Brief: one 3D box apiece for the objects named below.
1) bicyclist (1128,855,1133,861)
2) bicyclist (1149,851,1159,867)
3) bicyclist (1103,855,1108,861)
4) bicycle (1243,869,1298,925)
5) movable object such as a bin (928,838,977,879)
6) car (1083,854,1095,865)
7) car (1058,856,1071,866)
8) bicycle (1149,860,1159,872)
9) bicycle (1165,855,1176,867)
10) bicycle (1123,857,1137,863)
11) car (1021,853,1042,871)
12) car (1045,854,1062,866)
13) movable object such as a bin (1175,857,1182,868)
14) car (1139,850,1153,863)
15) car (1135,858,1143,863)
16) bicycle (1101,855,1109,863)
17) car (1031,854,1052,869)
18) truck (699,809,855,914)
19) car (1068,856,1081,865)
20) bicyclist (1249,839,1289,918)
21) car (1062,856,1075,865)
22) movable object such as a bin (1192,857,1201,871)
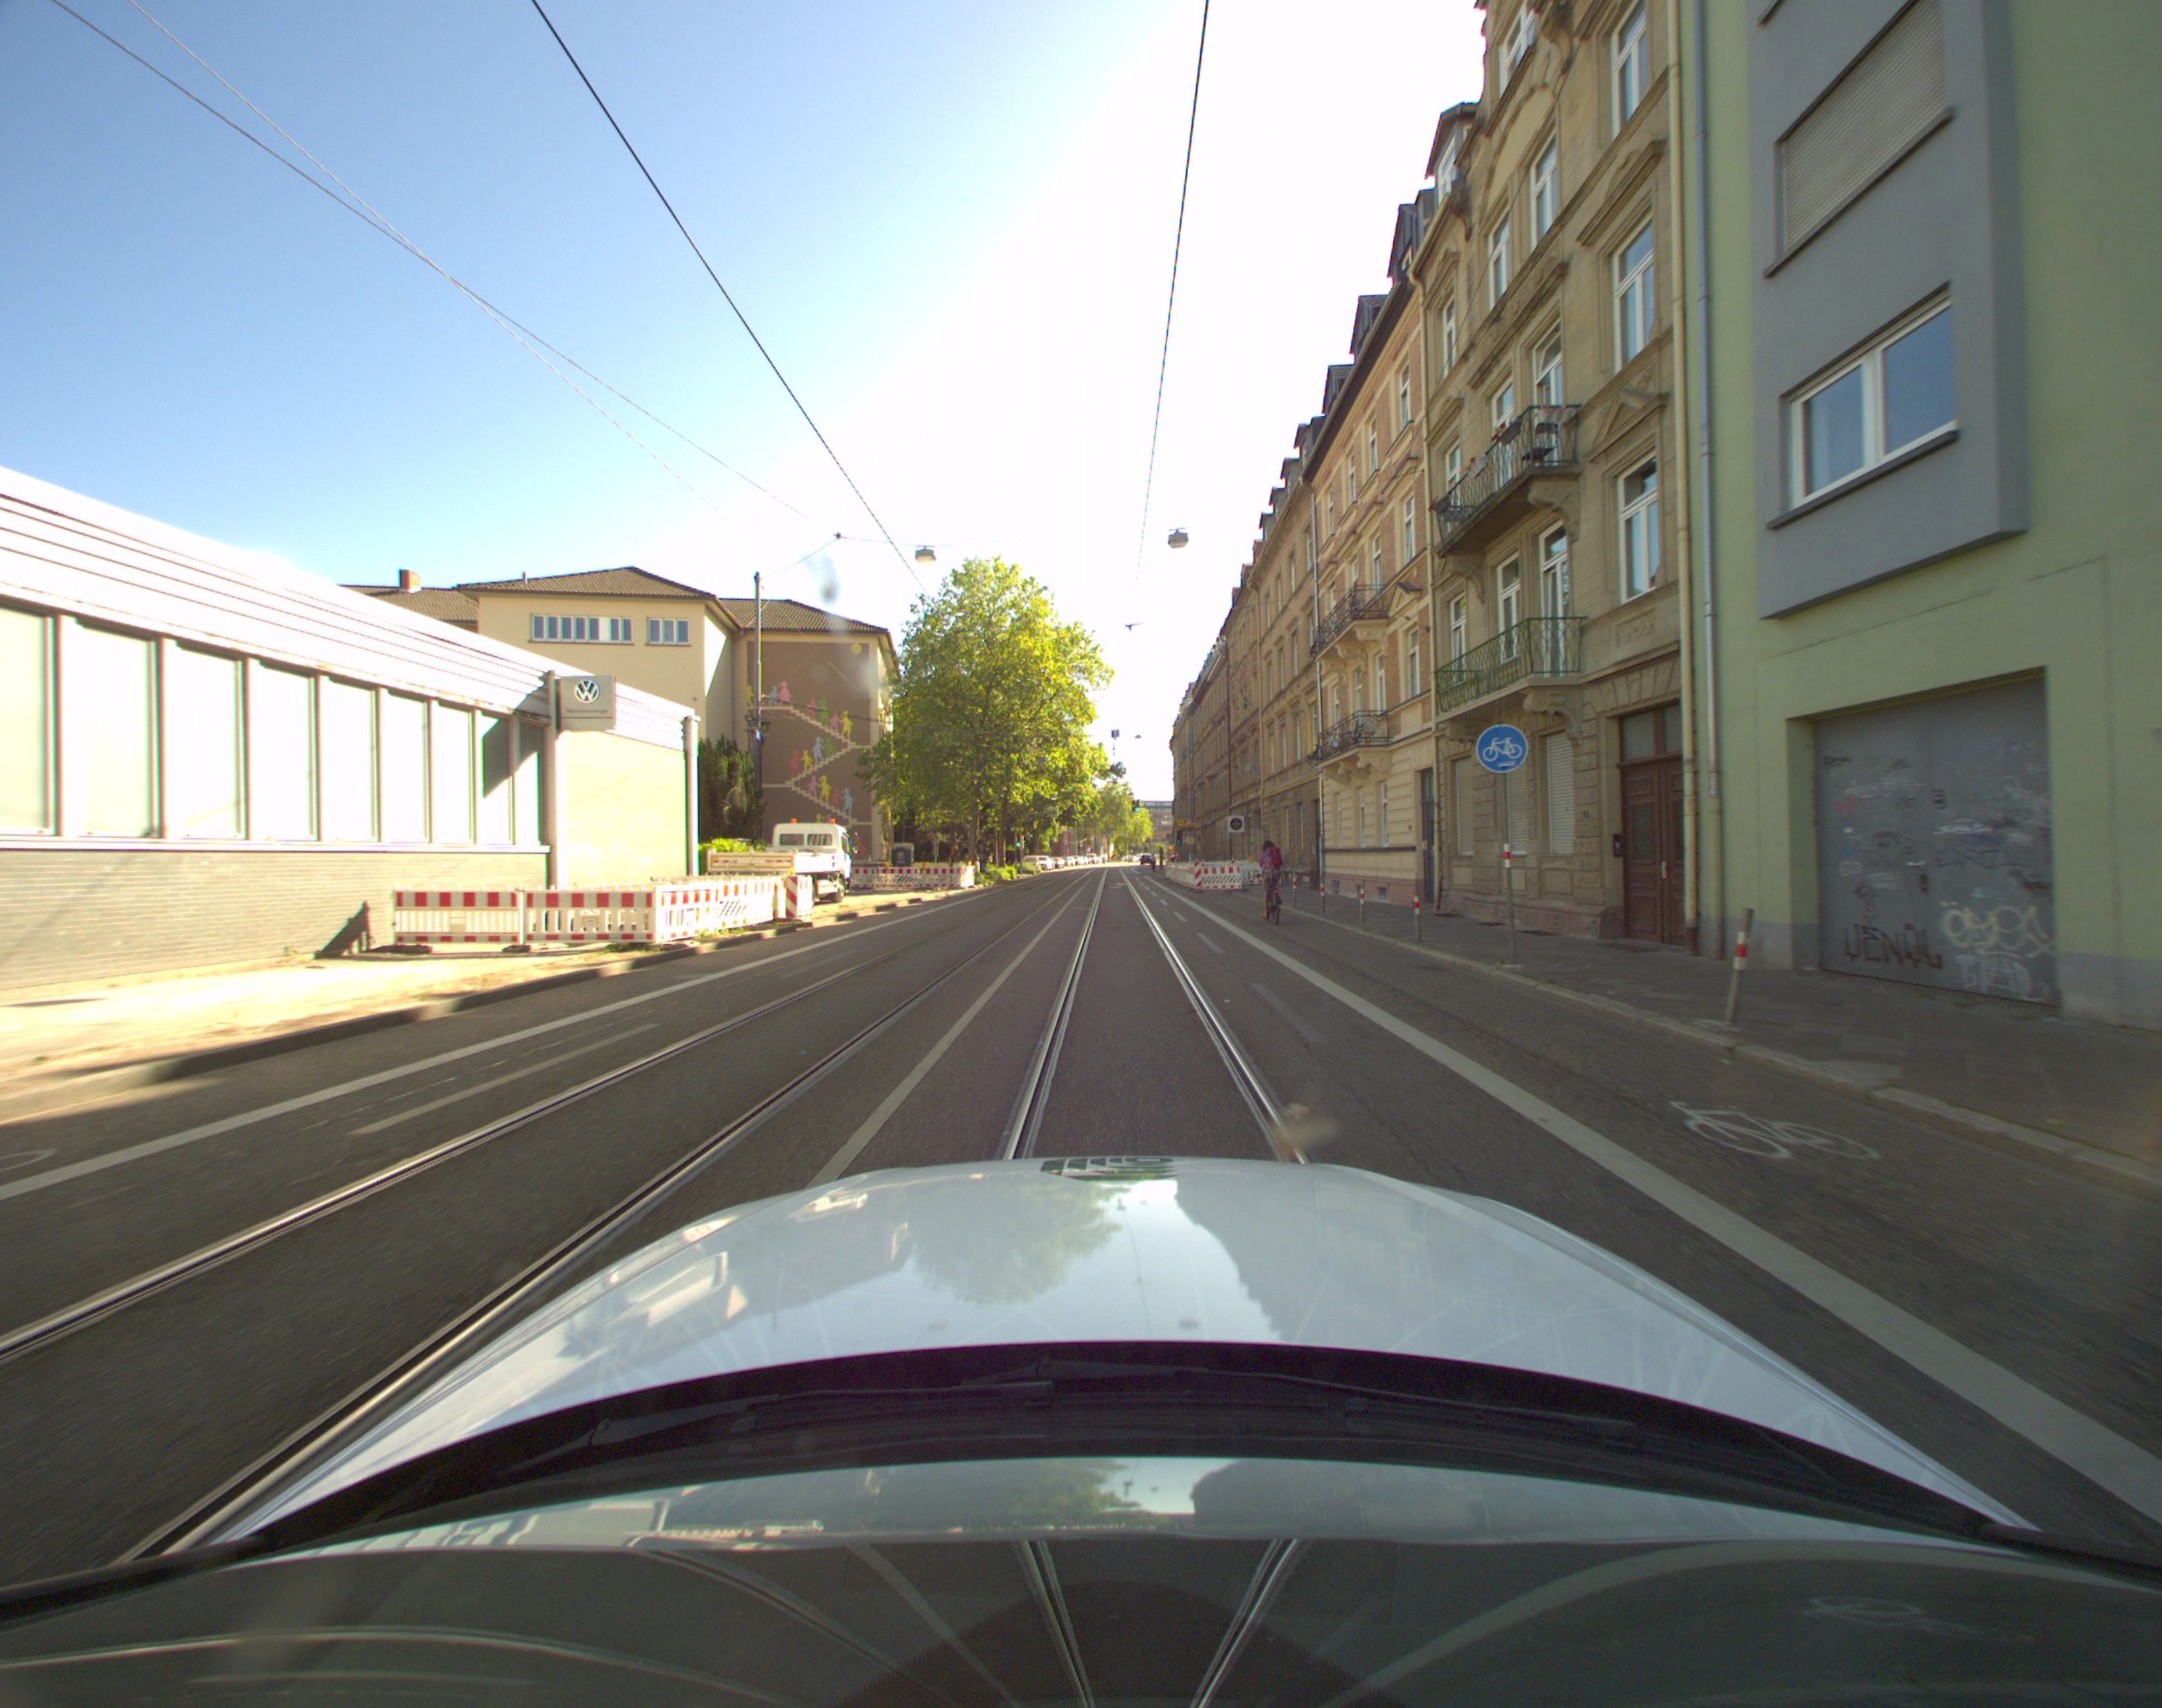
[{"bbox_3d":[11.074,0.951,182.131,0.893,1.427,1.056,0,-1,11],"label":"bicyclist"},{"bbox_3d":[6.915,0.479,77.322,0.835,1.558,0.966,0,-1,2],"label":"bicyclist"},{"bbox_3d":[5.395,0.881,179.764,1.071,1.427,1.149,0,-1,10],"label":"bicyclist"},{"bbox_3d":[4.172,0.917,18.108,0.678,1.114,2.708,0,0,2],"label":"bicycle"},{"bbox_3d":[-8.817,0.299,56.389,2.487,2.645,5.987,0,0,-1],"label":"movable object such as a bin"},{"bbox_3d":[1.555,1.123,159.767,2.049,2.052,4.048,0,-1,5],"label":"car"},{"bbox_3d":[-2.613,1.075,129.053,1.740,1.495,4.048,0,-1,5],"label":"car"},{"bbox_3d":[6.912,1.150,77.363,0.852,1.088,2.488,0,-1,2],"label":"bicycle"},{"bbox_3d":[11.699,0.941,105.924,0.964,1.515,3.258,0,-1,14],"label":"bicycle"},{"bbox_3d":[10.963,1.361,182.158,2.868,1.231,0.887,0,-1,12],"label":"bicycle"},{"bbox_3d":[-4.813,0.804,80.079,1.538,1.658,3.767,0,-1,5],"label":"car"},{"bbox_3d":[-3.524,0.844,106.113,1.740,1.509,4.048,0,-1,5],"label":"car"},{"bbox_3d":[10.137,0.873,84.914,0.671,1.036,0.814,-1,0,2],"label":"movable object such as a bin"},{"bbox_3d":[10.307,0.484,129.186,1.985,2.014,4.002,0,-1,3],"label":"car"},{"bbox_3d":[15.524,1.691,217.825,1.739,1.422,4.051,0,-1,7],"label":"car"},{"bbox_3d":[5.308,1.118,179.809,1.227,1.572,2.904,0,-1,9],"label":"bicycle"},{"bbox_3d":[-4.354,0.851,90.511,1.740,1.608,4.048,0,-1,5],"label":"car"},{"bbox_3d":[-9.111,0.239,25.254,2.531,2.830,6.372,0,-1,-2],"label":"truck"},{"bbox_3d":[-1.110,1.151,139.525,1.740,1.587,4.048,0,-1,5],"label":"car"},{"bbox_3d":[4.170,0.534,18.090,0.664,1.697,1.043,0,-1,2],"label":"bicyclist"},{"bbox_3d":[-2.007,1.087,134.106,1.740,1.587,4.048,0,-1,5],"label":"car"},{"bbox_3d":[9.496,0.837,66.734,0.618,1.110,0.780,0,-1,-1],"label":"movable object such as a bin"}]
